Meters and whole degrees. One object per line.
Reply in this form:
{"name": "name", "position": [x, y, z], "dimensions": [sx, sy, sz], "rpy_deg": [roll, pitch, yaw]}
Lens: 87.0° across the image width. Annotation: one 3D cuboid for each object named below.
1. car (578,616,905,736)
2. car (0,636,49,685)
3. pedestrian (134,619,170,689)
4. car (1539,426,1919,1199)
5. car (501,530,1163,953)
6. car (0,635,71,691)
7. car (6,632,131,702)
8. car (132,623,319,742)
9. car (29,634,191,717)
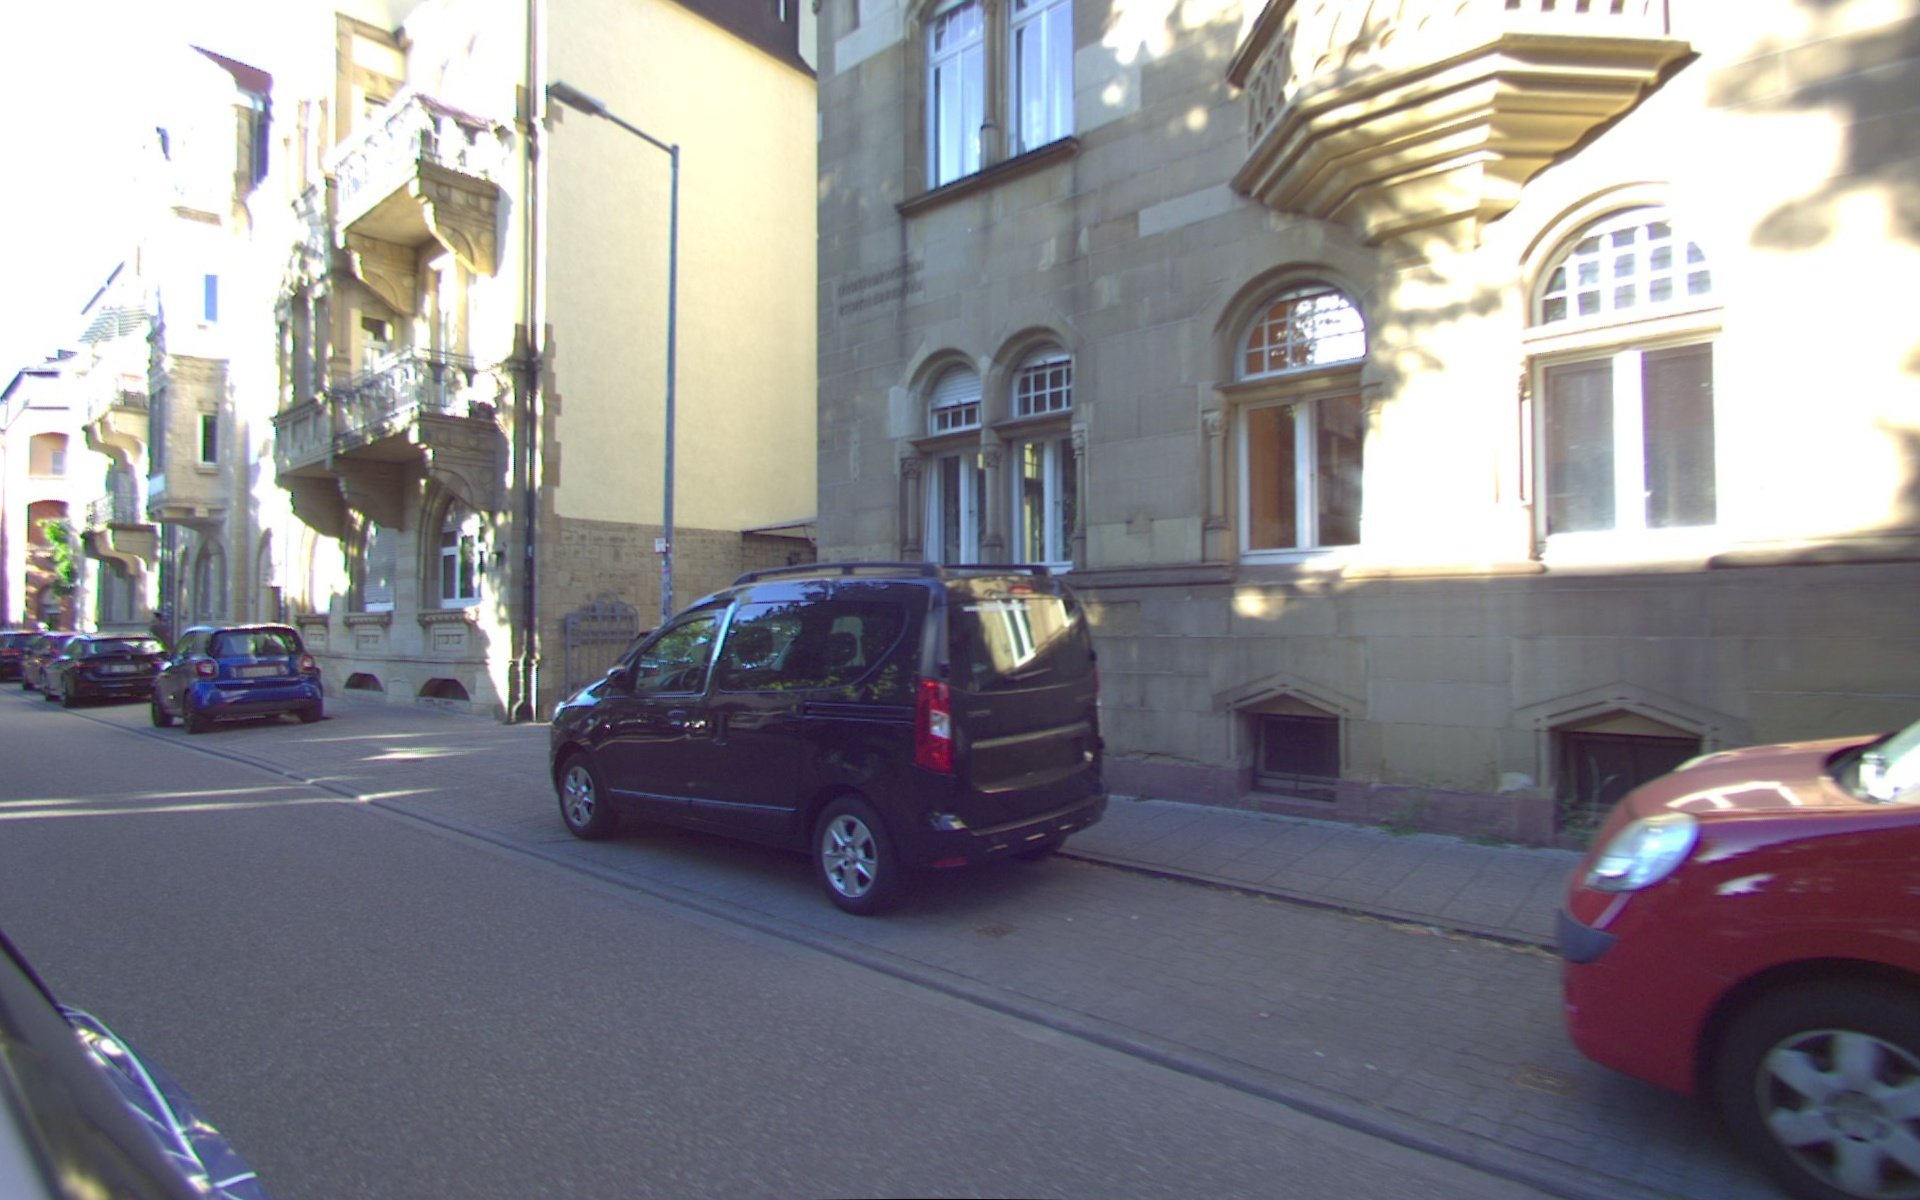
{"name": "car", "position": [-3.089, 1.008, 14.979], "dimensions": [2.068, 1.449, 4.342], "rpy_deg": [-2, -1, 43]}
{"name": "car", "position": [-32.001, 2.028, 33.629], "dimensions": [4.506, 1.468, 1.870], "rpy_deg": [-2, 1, 39]}
{"name": "pedestrian", "position": [-21.804, 1.446, 27.308], "dimensions": [0.497, 1.861, 0.685], "rpy_deg": [-2, -1, 43]}
{"name": "car", "position": [3.835, 0.520, 2.052], "dimensions": [4.323, 1.921, 1.779], "rpy_deg": [-2, -1, 42]}
{"name": "car", "position": [-1.126, 0.692, 6.651], "dimensions": [4.540, 1.866, 1.751], "rpy_deg": [-2, -2, 42]}
{"name": "car", "position": [-27.604, 1.813, 29.783], "dimensions": [3.997, 1.477, 1.724], "rpy_deg": [-2, -1, 42]}
{"name": "car", "position": [-22.214, 1.618, 25.181], "dimensions": [3.769, 1.477, 1.673], "rpy_deg": [-2, 2, 39]}
{"name": "car", "position": [-11.121, 1.174, 15.287], "dimensions": [2.860, 1.520, 1.666], "rpy_deg": [-2, 1, 41]}
{"name": "car", "position": [-17.904, 1.504, 21.254], "dimensions": [4.539, 1.449, 1.881], "rpy_deg": [-2, 1, 41]}
